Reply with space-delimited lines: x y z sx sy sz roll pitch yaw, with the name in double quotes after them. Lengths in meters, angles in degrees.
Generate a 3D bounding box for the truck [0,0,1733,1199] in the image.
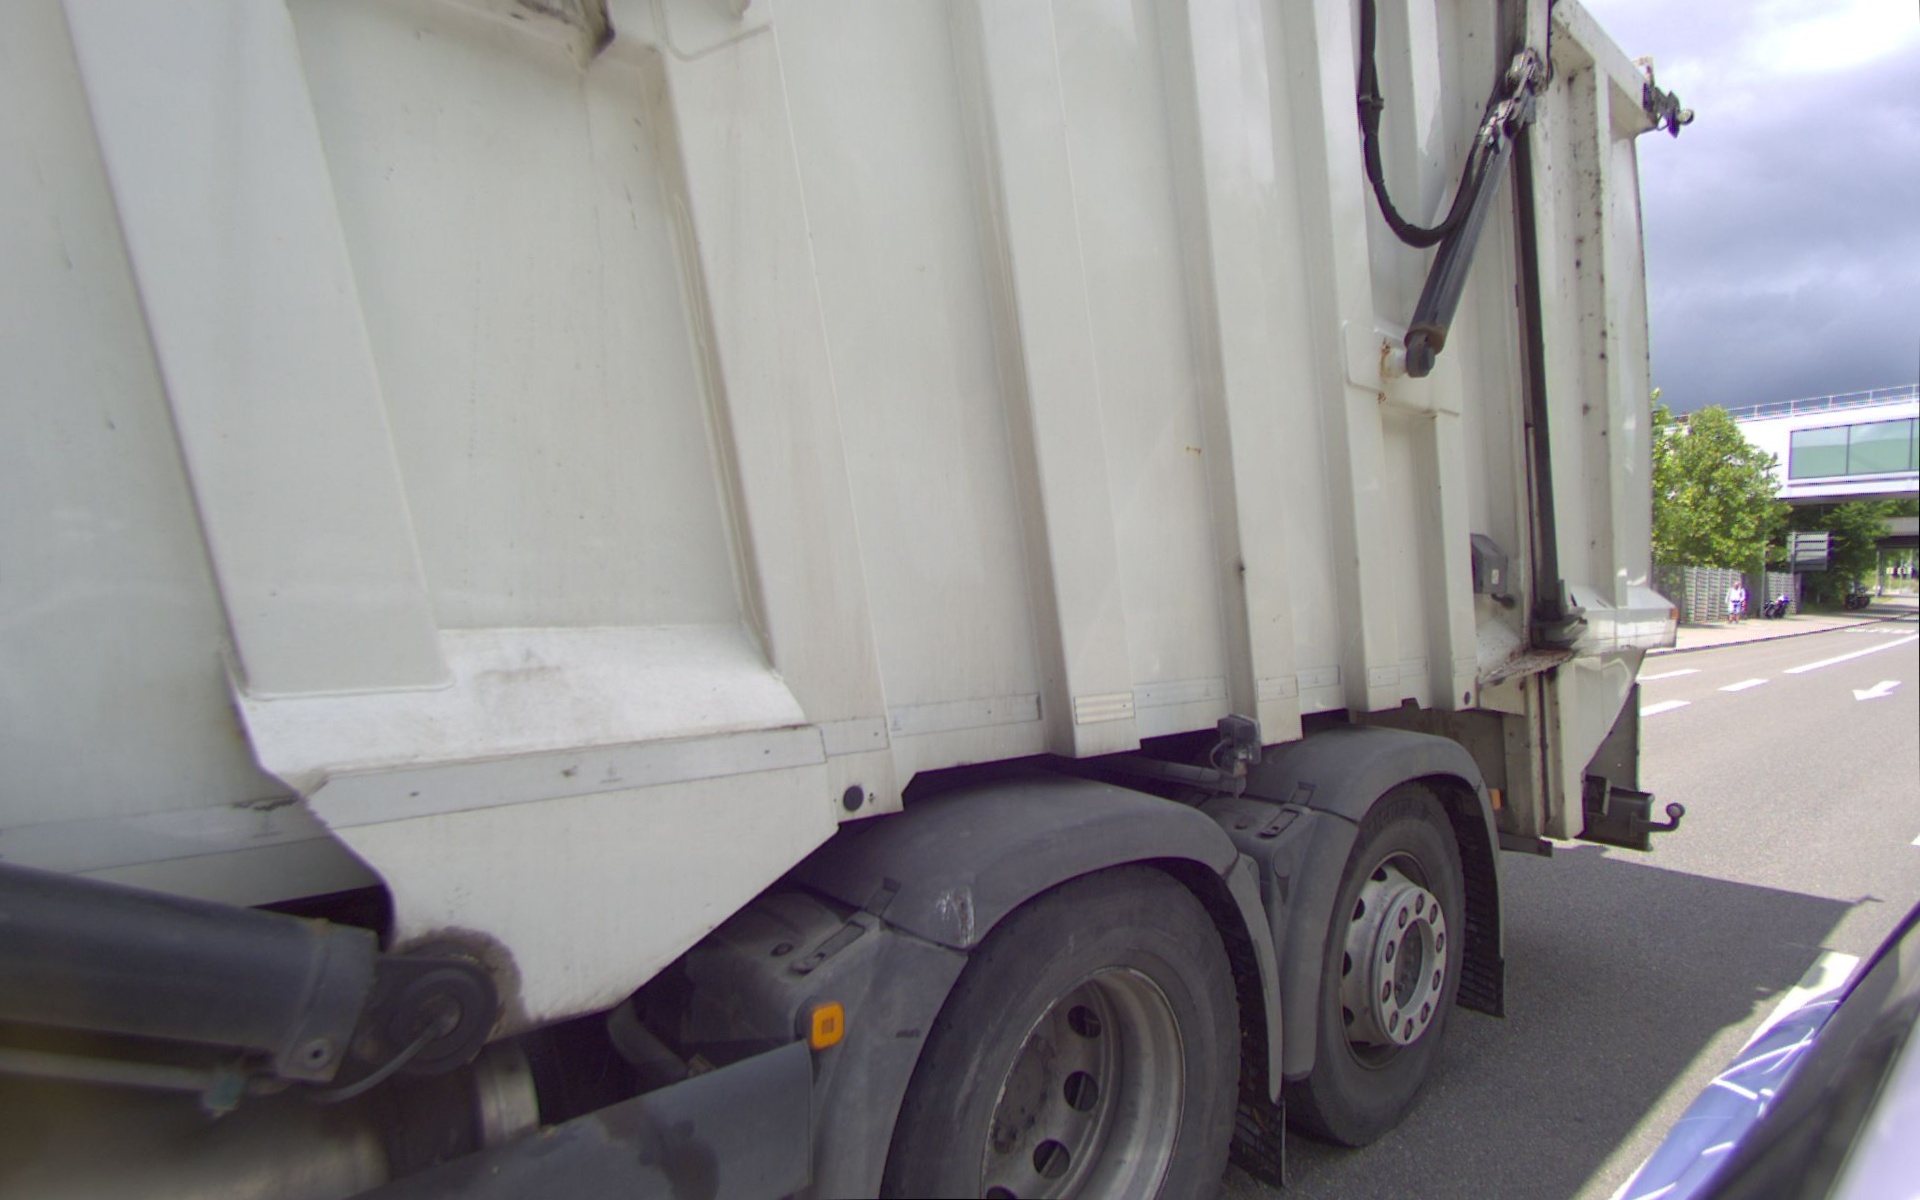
-0.848 -0.532 2.430 9.999 3.962 2.492 -1 0 -42 "truck"

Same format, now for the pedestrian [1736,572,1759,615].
36.411 -0.296 46.775 0.647 1.936 0.738 0 0 -42 "pedestrian"
